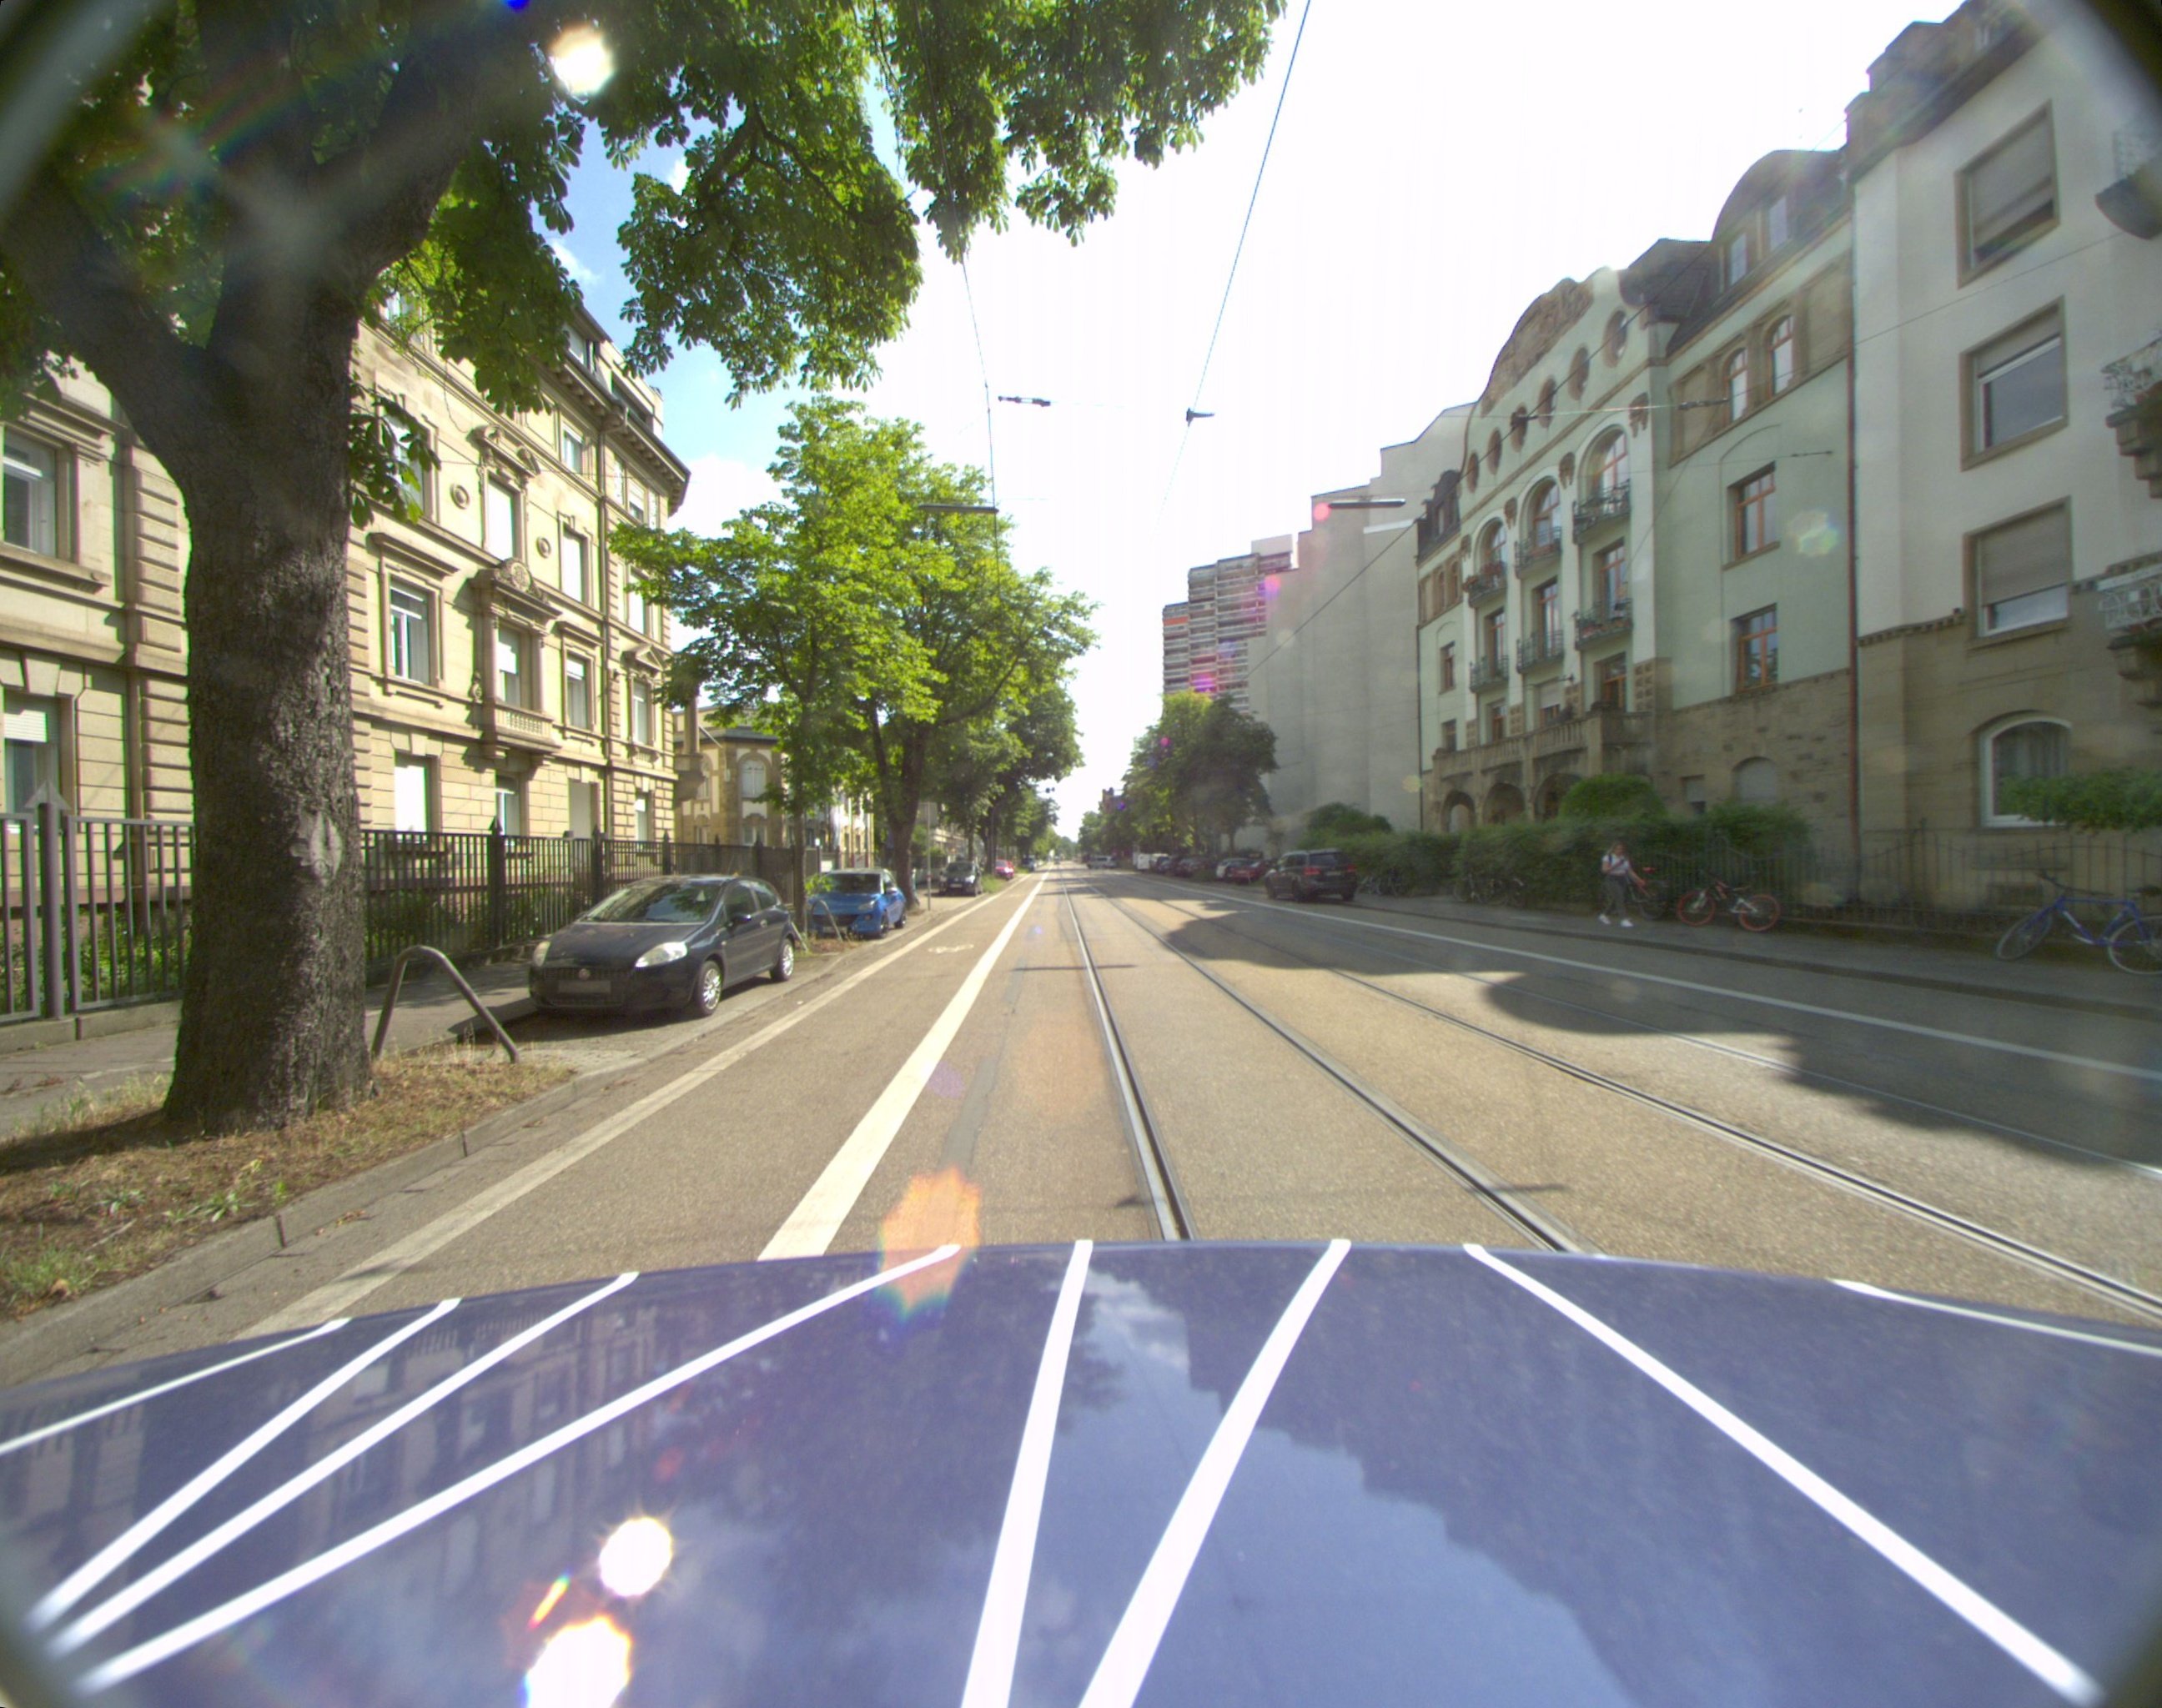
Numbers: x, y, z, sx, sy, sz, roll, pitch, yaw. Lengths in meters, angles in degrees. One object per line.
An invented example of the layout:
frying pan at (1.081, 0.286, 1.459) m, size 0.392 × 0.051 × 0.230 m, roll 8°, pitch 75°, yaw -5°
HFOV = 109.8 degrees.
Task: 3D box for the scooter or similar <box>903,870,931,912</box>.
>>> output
scooter or similar at (-5.225, 1.172, 24.140) m, size 0.443 × 1.291 × 1.179 m, roll 3°, pitch -2°, yaw -33°

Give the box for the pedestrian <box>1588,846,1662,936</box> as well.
pedestrian at (9.966, 0.655, 13.947) m, size 0.681 × 1.559 × 0.882 m, roll -3°, pitch 1°, yaw 0°

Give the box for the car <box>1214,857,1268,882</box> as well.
car at (10.367, 0.999, 49.080) m, size 1.692 × 1.475 × 3.816 m, roll 1°, pitch 0°, yaw 43°

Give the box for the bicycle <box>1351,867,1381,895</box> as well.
bicycle at (10.426, 0.987, 27.850) m, size 0.384 × 0.953 × 1.810 m, roll -3°, pitch 0°, yaw 0°

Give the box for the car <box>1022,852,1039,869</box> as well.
car at (-8.073, 1.037, 122.207) m, size 2.338 × 2.545 × 5.388 m, roll -4°, pitch 0°, yaw -3°

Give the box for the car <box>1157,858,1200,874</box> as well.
car at (8.818, 1.097, 68.514) m, size 1.755 × 1.409 × 4.009 m, roll 1°, pitch 0°, yaw 42°

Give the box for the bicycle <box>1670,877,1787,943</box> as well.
bicycle at (10.778, 0.906, 12.736) m, size 0.384 × 0.970 × 1.801 m, roll -3°, pitch 0°, yaw 0°

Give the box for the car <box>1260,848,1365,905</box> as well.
car at (7.763, 0.718, 26.049) m, size 1.790 × 1.752 × 4.881 m, roll -1°, pitch 0°, yaw -4°

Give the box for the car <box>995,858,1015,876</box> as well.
car at (-6.660, 1.146, 66.287) m, size 1.605 × 1.420 × 3.594 m, roll 2°, pitch 0°, yaw -7°

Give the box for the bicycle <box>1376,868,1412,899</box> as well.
bicycle at (10.487, 0.978, 25.501) m, size 0.384 × 0.953 × 1.921 m, roll -3°, pitch 0°, yaw 0°

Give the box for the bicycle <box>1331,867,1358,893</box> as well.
bicycle at (10.383, 0.992, 29.942) m, size 0.384 × 0.953 × 1.810 m, roll -3°, pitch 0°, yaw 0°

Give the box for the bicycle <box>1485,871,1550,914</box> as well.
bicycle at (10.634, 0.914, 18.595) m, size 0.452 × 0.953 × 1.800 m, roll -3°, pitch 0°, yaw -2°

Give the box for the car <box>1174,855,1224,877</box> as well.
car at (9.170, 0.936, 58.871) m, size 1.736 × 1.583 × 4.009 m, roll 1°, pitch 0°, yaw 44°

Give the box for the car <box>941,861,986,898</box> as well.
car at (-5.489, 1.138, 35.933) m, size 1.701 × 1.581 × 4.201 m, roll 1°, pitch 0°, yaw -3°

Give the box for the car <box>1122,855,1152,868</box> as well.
car at (7.049, 0.973, 95.174) m, size 1.737 × 1.514 × 3.893 m, roll -1°, pitch 0°, yaw 42°

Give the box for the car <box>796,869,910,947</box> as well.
car at (-4.967, 1.125, 17.016) m, size 1.644 × 1.487 × 3.626 m, roll 0°, pitch 0°, yaw -3°

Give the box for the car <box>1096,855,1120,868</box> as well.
car at (4.117, 1.188, 118.402) m, size 1.895 × 1.840 × 4.228 m, roll -4°, pitch 1°, yaw -26°

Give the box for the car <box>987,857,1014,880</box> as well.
car at (-6.170, 1.096, 58.784) m, size 1.881 × 1.666 × 4.280 m, roll 1°, pitch 0°, yaw -4°

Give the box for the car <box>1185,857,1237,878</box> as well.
car at (9.567, 1.004, 55.702) m, size 4.009 × 1.475 × 1.736 m, roll 1°, pitch 0°, yaw -44°

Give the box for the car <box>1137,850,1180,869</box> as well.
car at (8.314, 0.581, 81.408) m, size 4.696 × 1.985 × 1.963 m, roll -1°, pitch 0°, yaw -43°

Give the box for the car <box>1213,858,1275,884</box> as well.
car at (9.871, 0.998, 45.927) m, size 3.816 × 1.475 × 1.693 m, roll 1°, pitch 0°, yaw -41°

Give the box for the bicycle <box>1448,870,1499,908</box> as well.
bicycle at (10.717, 0.944, 20.812) m, size 0.384 × 0.953 × 1.921 m, roll -3°, pitch 0°, yaw 0°

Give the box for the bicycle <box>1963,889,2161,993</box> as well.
bicycle at (10.907, 0.900, 8.338) m, size 0.427 × 0.953 × 1.705 m, roll -3°, pitch 0°, yaw 0°

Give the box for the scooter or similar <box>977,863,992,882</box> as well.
scooter or similar at (-6.413, 1.221, 50.480) m, size 0.341 × 1.230 × 1.261 m, roll 2°, pitch 0°, yaw 22°

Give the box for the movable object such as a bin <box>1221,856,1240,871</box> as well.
movable object such as a bin at (14.558, 0.912, 73.998) m, size 1.391 × 1.356 × 1.538 m, roll 2°, pitch 0°, yaw -6°

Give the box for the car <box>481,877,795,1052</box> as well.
car at (-4.747, 1.069, 8.830) m, size 1.644 × 1.487 × 3.756 m, roll 0°, pitch 0°, yaw -4°

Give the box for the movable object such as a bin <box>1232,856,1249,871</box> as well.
movable object such as a bin at (14.458, 0.870, 69.016) m, size 1.171 × 1.276 × 1.441 m, roll 2°, pitch 0°, yaw -3°

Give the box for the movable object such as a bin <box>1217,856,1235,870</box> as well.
movable object such as a bin at (14.440, 0.882, 75.650) m, size 1.391 × 1.356 × 1.538 m, roll 2°, pitch 0°, yaw -6°

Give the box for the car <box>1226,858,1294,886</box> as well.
car at (10.093, 0.987, 42.669) m, size 3.979 × 1.475 × 1.841 m, roll 1°, pitch 0°, yaw -45°

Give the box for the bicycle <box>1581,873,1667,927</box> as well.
bicycle at (10.827, 0.892, 15.222) m, size 0.384 × 0.953 × 1.801 m, roll -3°, pitch 0°, yaw 0°

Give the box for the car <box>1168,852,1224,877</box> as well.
car at (9.460, 0.859, 62.305) m, size 1.911 × 1.942 × 5.180 m, roll 1°, pitch 0°, yaw 42°

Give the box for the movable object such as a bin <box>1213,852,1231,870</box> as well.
movable object such as a bin at (14.337, 0.683, 77.396) m, size 1.391 × 1.771 × 1.538 m, roll 2°, pitch 0°, yaw -6°

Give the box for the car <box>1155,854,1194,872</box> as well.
car at (8.869, 0.874, 71.831) m, size 1.755 × 1.683 × 3.724 m, roll 1°, pitch 0°, yaw 45°
